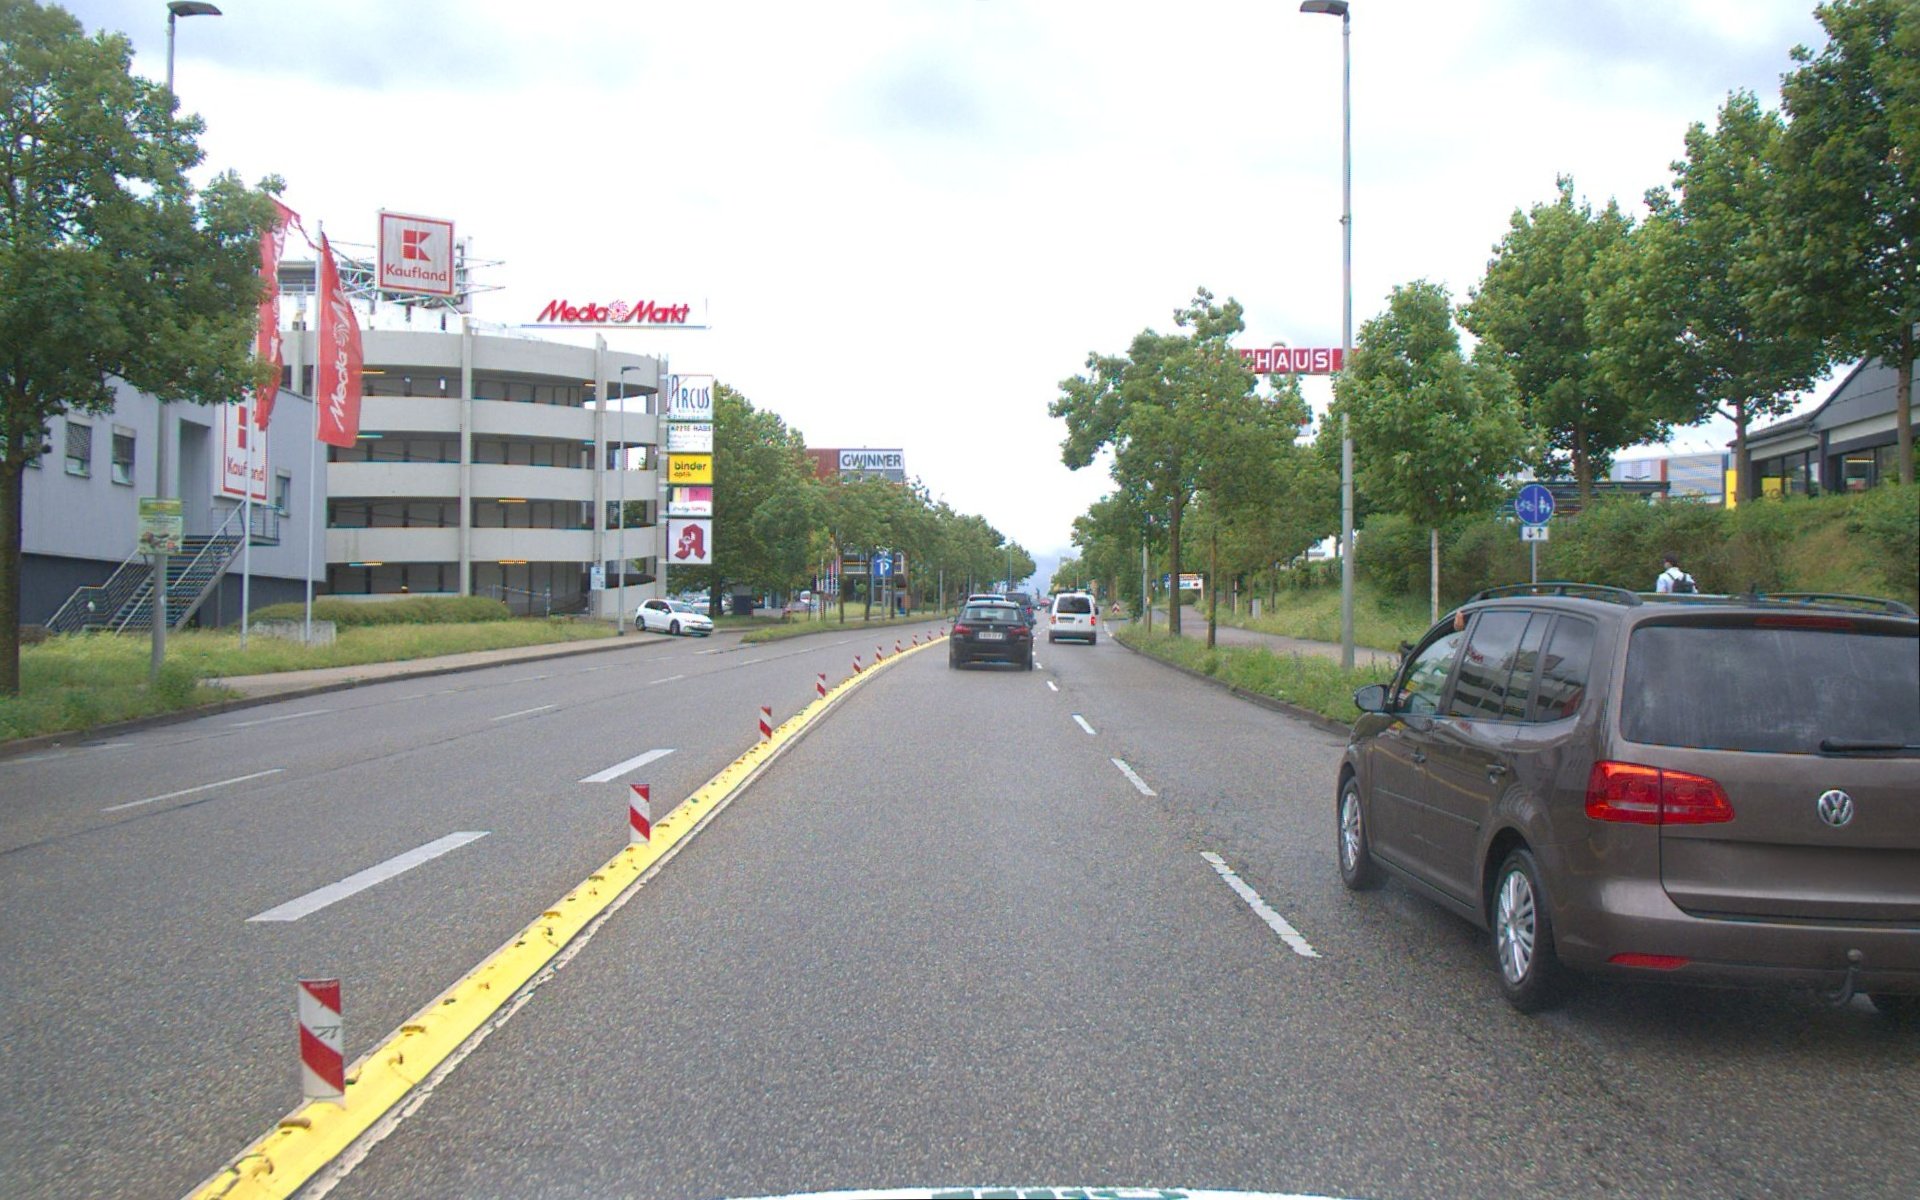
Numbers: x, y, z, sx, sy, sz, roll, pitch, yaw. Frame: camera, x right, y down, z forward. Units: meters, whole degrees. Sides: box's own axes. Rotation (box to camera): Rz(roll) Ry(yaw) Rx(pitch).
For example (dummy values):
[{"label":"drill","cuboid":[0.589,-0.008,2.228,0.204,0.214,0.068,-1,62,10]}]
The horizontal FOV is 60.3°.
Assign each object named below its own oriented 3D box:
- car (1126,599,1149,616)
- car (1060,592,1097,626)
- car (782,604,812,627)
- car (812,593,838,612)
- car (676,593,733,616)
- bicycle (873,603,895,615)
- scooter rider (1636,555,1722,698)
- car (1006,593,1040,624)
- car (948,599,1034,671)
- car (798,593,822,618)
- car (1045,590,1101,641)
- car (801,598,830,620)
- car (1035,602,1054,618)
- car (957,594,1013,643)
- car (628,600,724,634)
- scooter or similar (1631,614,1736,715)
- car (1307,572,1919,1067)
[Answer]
[{"label":"car","cuboid":[16.848,0.717,156.985,1.757,1.537,4.000,2,-1,1]},{"label":"car","cuboid":[5.796,0.457,81.161,1.757,1.537,4.001,2,-1,4]},{"label":"car","cuboid":[-13.228,1.243,134.471,1.893,1.637,4.711,2,1,0]},{"label":"car","cuboid":[-13.857,0.278,169.818,2.093,1.804,4.610,2,1,2]},{"label":"car","cuboid":[-21.566,0.379,139.623,4.508,1.776,1.966,1,1,-4]},{"label":"bicycle","cuboid":[-7.705,0.909,167.471,2.033,0.951,1.094,5,0,9]},{"label":"scooter rider","cuboid":[9.628,0.352,22.161,0.681,1.852,0.857,-2,-1,-4]},{"label":"car","cuboid":[3.347,0.470,88.301,1.757,1.537,4.001,2,-1,2]},{"label":"car","cuboid":[0.683,0.735,36.875,1.789,1.494,4.000,1,0,1]},{"label":"car","cuboid":[-13.976,0.471,154.672,2.072,2.132,5.118,1,1,-4]},{"label":"car","cuboid":[4.170,0.548,61.315,1.789,1.789,4.000,2,0,1]},{"label":"car","cuboid":[-12.969,0.822,148.906,1.997,1.792,4.947,2,1,1]},{"label":"car","cuboid":[8.716,1.080,170.313,1.757,1.537,4.000,2,-1,1]},{"label":"car","cuboid":[0.844,0.619,56.335,1.757,1.537,4.000,2,-1,1]},{"label":"car","cuboid":[-12.479,0.731,72.497,4.345,1.433,1.894,-1,0,42]},{"label":"scooter or similar","cuboid":[9.647,0.847,22.088,0.681,1.286,1.399,-2,-1,-4]},{"label":"car","cuboid":[2.943,0.732,7.607,1.651,1.608,4.217,2,0,-2]}]
